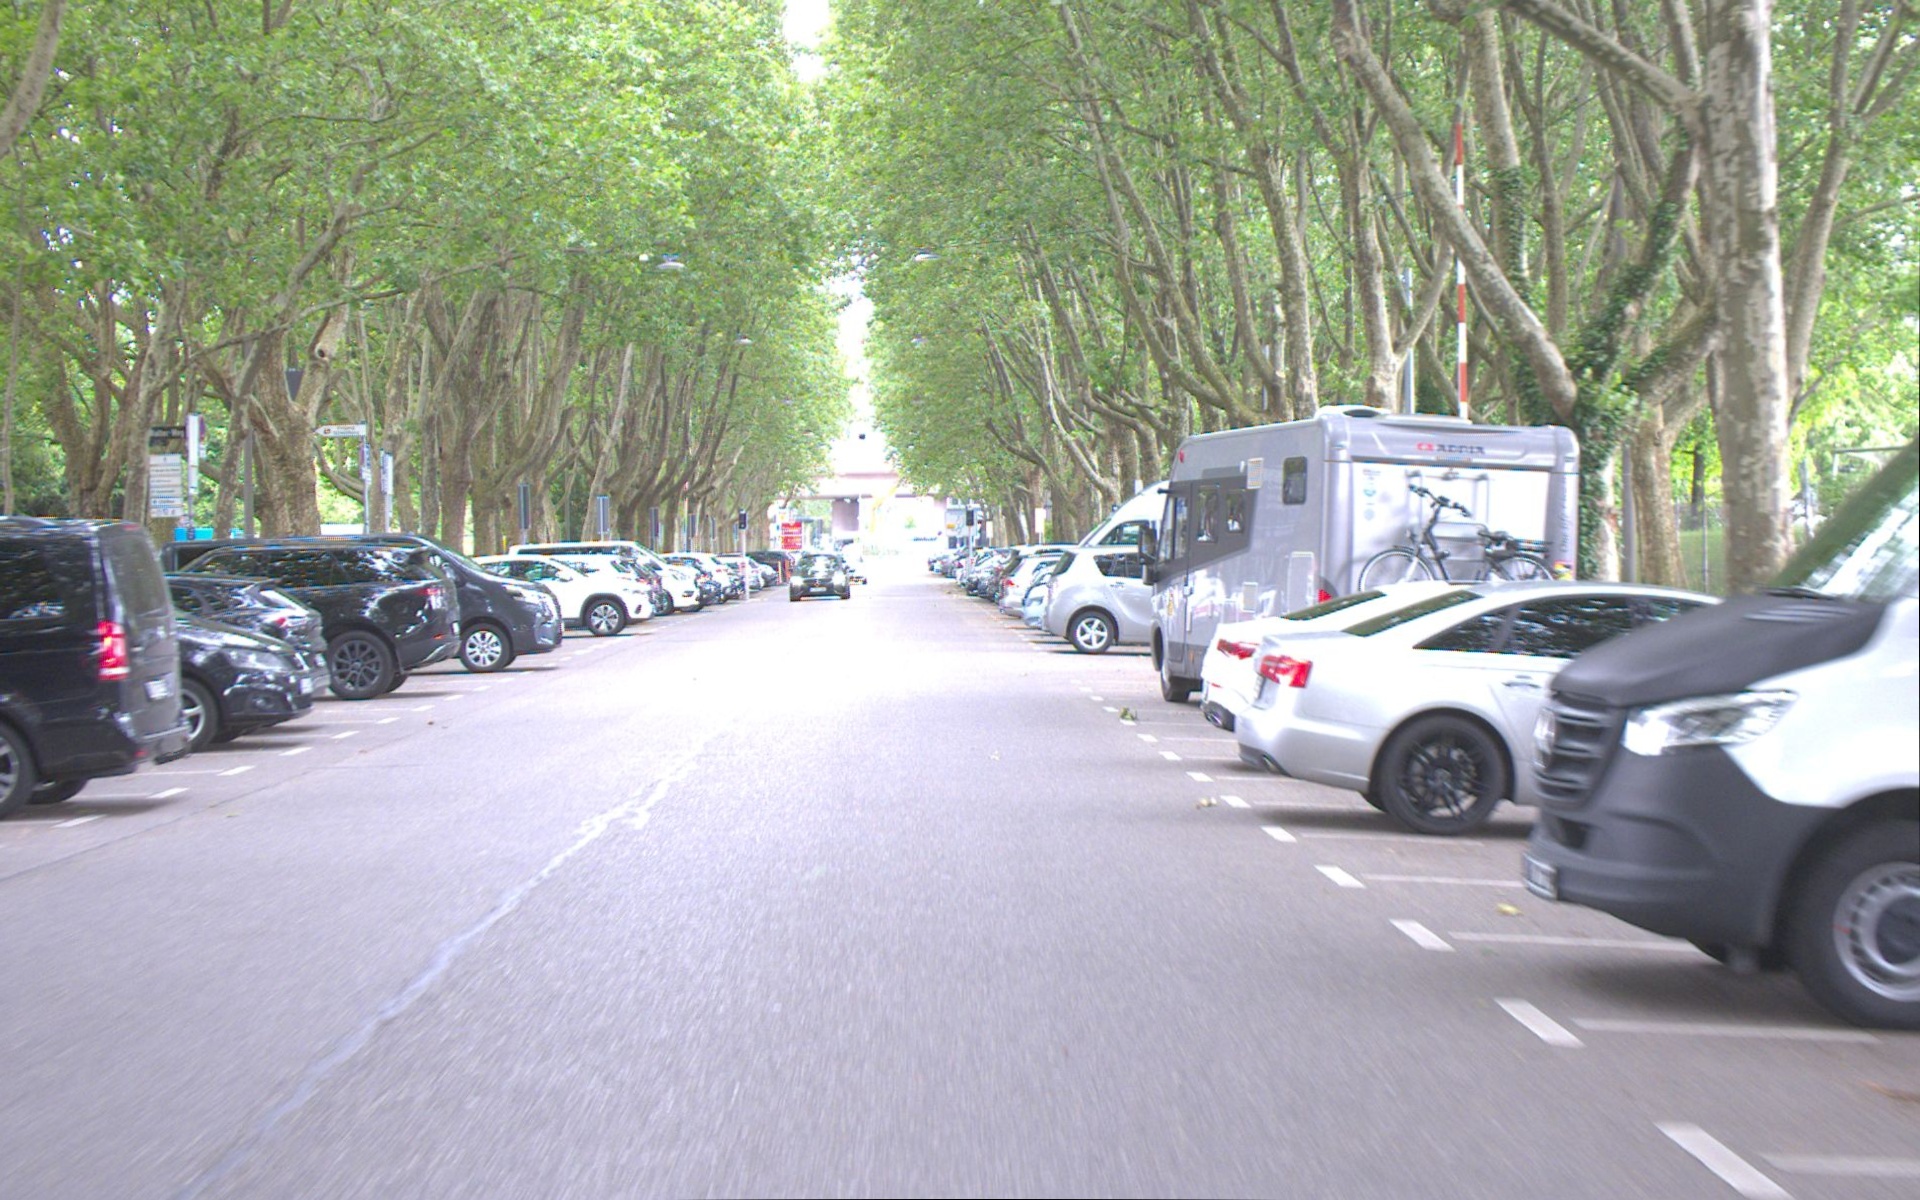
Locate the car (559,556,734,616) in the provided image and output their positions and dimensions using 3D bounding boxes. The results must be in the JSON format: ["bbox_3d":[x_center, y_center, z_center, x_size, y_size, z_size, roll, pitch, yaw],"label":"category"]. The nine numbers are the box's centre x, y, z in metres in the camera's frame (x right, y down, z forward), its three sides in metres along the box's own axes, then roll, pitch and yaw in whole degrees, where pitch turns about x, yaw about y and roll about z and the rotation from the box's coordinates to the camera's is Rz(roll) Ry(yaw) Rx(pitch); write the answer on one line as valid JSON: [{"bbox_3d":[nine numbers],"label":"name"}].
[{"bbox_3d":[-8.486,-0.381,93.245,4.449,1.447,1.774,-2,1,4],"label":"car"}]

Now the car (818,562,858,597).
[{"bbox_3d":[-5.439,-0.904,152.663,1.689,1.466,3.840,-2,1,-3],"label":"car"}]

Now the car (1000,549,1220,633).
[{"bbox_3d":[2.849,-0.178,65.977,4.119,1.424,1.703,2,0,1],"label":"car"}]

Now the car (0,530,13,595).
[{"bbox_3d":[-35.948,-1.312,118.609,6.001,2.245,2.000,0,1,-1],"label":"car"}]

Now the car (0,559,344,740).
[{"bbox_3d":[-7.808,0.459,32.046,3.896,1.489,1.754,-3,1,-14],"label":"car"}]

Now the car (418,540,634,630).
[{"bbox_3d":[-9.190,-0.335,73.102,4.340,1.662,2.000,-3,1,-3],"label":"car"}]

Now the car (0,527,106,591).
[{"bbox_3d":[-37.643,-1.654,138.486,6.001,2.518,2.000,0,1,-1],"label":"car"}]

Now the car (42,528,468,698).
[{"bbox_3d":[-7.995,0.148,39.342,4.652,1.814,1.806,-1,-1,-8],"label":"car"}]

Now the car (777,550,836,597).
[{"bbox_3d":[-4.875,-0.842,108.743,1.654,1.359,4.113,-3,1,-4],"label":"car"}]

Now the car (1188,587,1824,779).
[{"bbox_3d":[3.880,0.580,24.931,4.320,1.297,1.700,0,1,0],"label":"car"}]

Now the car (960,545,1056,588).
[{"bbox_3d":[1.886,-1.343,136.083,3.645,1.661,1.519,0,1,-4],"label":"car"}]

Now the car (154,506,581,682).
[{"bbox_3d":[-8.000,-0.104,46.823,5.435,2.120,1.940,-2,1,-2],"label":"car"}]

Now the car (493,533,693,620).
[{"bbox_3d":[-9.387,-0.598,88.210,4.893,2.012,1.920,-2,1,-2],"label":"car"}]

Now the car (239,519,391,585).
[{"bbox_3d":[-26.032,-1.939,138.890,5.786,2.588,2.000,0,1,0],"label":"car"}]

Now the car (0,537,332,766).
[{"bbox_3d":[-7.903,0.462,29.595,4.579,1.775,1.798,-2,2,1],"label":"car"}]

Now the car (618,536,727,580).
[{"bbox_3d":[-10.249,-1.508,122.716,3.826,1.425,1.695,-2,1,-4],"label":"car"}]

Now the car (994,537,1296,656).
[{"bbox_3d":[2.710,-0.065,50.861,4.340,1.612,1.803,2,1,2],"label":"car"}]

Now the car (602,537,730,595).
[{"bbox_3d":[-9.004,-1.047,105.477,3.826,1.622,1.953,-2,1,-4],"label":"car"}]

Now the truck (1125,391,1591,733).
[{"bbox_3d":[3.617,-0.369,33.296,2.457,2.928,7.540,0,1,-9],"label":"truck"}]

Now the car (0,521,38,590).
[{"bbox_3d":[-37.266,-1.661,126.752,6.001,2.518,2.000,0,1,-1],"label":"car"}]

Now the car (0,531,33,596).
[{"bbox_3d":[-35.989,-1.311,121.352,6.001,2.245,2.000,0,1,-1],"label":"car"}]

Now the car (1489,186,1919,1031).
[{"bbox_3d":[5.459,0.037,11.995,6.881,2.686,2.127,0,1,1],"label":"car"}]

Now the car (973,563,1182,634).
[{"bbox_3d":[2.590,-0.038,76.263,4.501,1.521,1.703,1,1,-3],"label":"car"}]

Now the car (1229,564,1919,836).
[{"bbox_3d":[3.743,0.538,19.549,4.359,1.440,1.612,1,1,3],"label":"car"}]

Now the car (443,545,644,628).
[{"bbox_3d":[-9.499,-0.317,78.702,4.340,1.662,2.000,-3,1,-3],"label":"car"}]

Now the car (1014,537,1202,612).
[{"bbox_3d":[3.554,-0.621,83.189,4.383,1.749,1.801,1,1,-3],"label":"car"}]

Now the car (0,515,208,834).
[{"bbox_3d":[-7.545,0.505,22.029,4.905,1.917,2.208,-2,1,0],"label":"car"}]

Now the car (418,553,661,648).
[{"bbox_3d":[-7.939,-0.010,65.172,4.379,1.591,2.000,-2,1,-3],"label":"car"}]

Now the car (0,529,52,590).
[{"bbox_3d":[-37.334,-1.542,129.055,6.001,2.232,2.000,0,1,-1],"label":"car"}]

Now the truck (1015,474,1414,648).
[{"bbox_3d":[4.067,-0.638,55.617,6.294,2.706,2.098,0,1,2],"label":"truck"}]

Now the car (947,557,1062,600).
[{"bbox_3d":[1.662,-0.819,129.855,4.166,1.591,1.855,0,1,-4],"label":"car"}]
